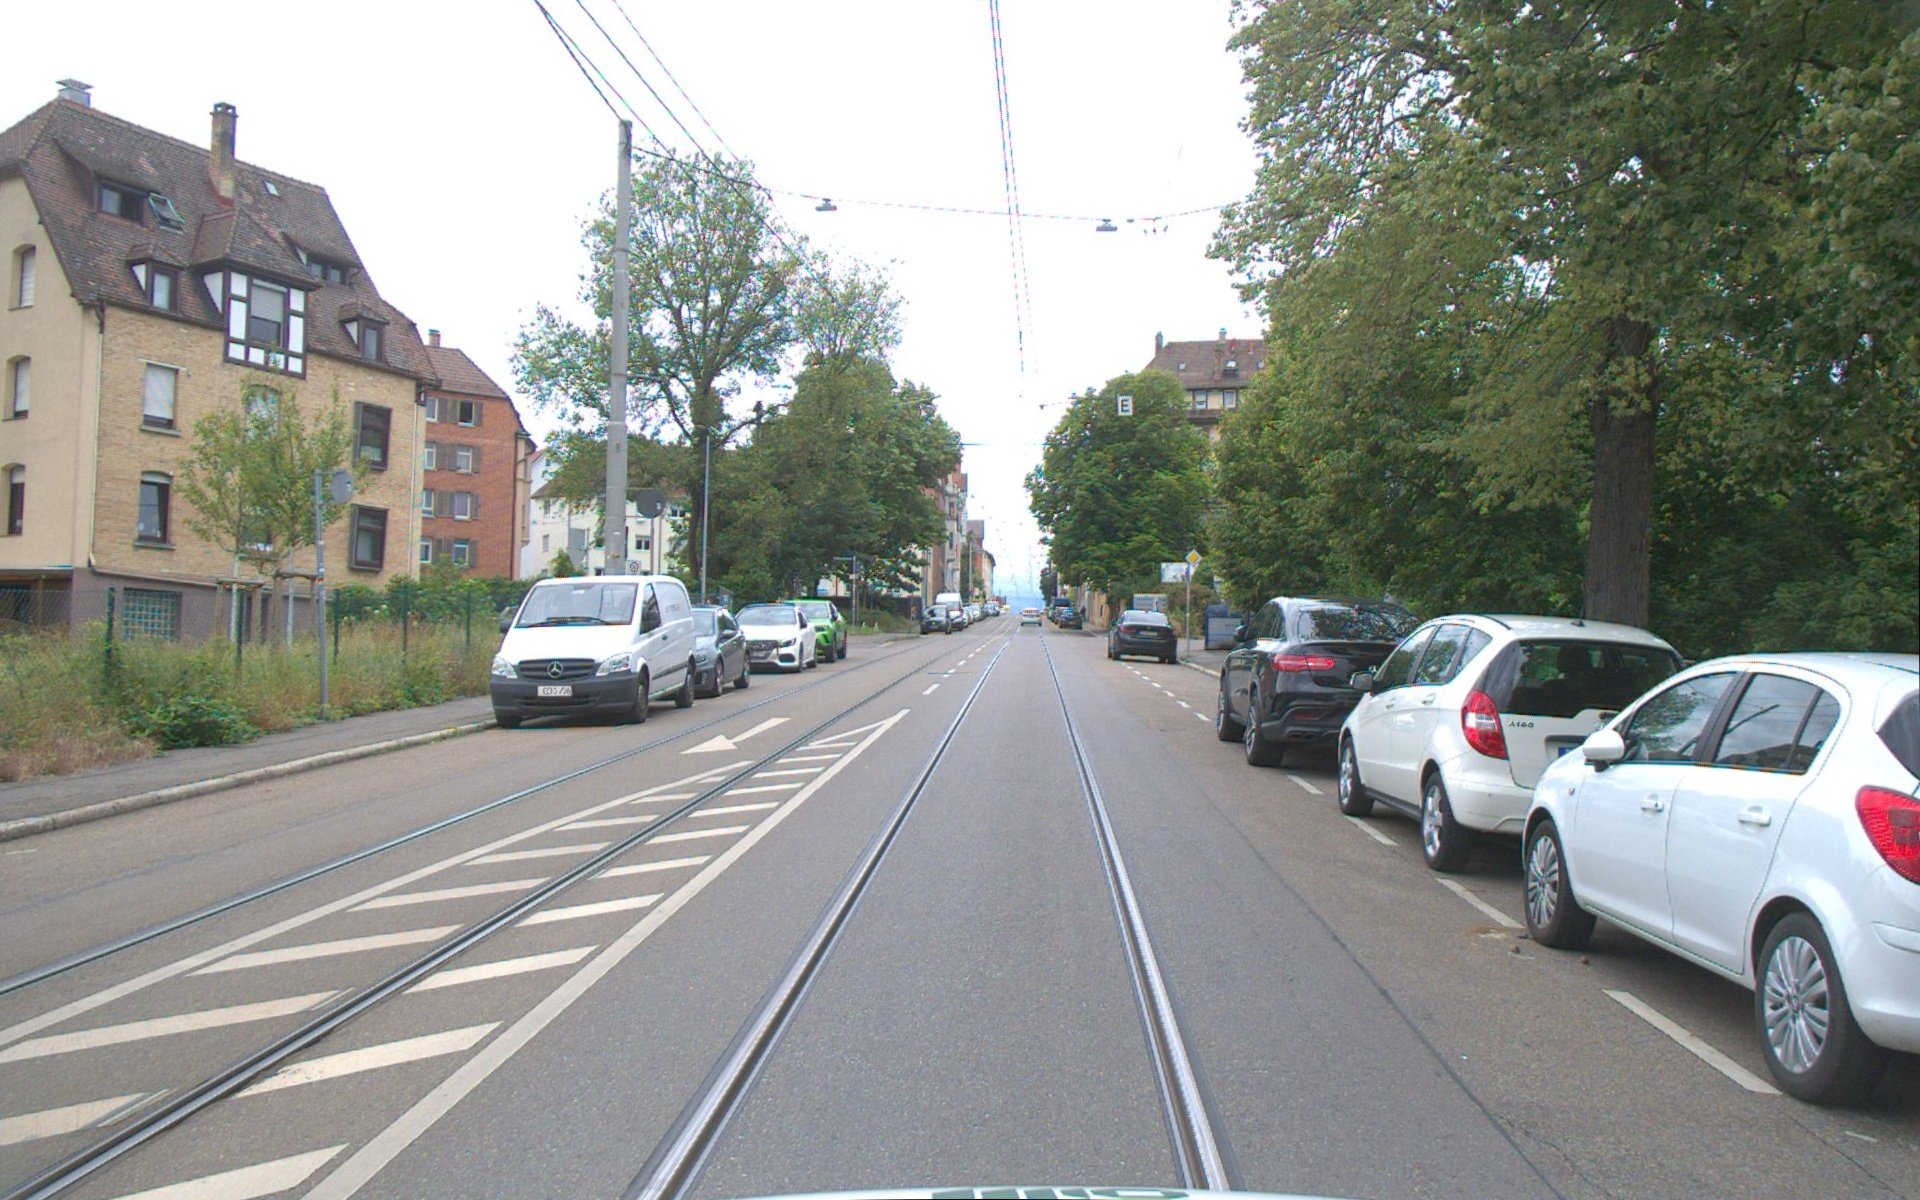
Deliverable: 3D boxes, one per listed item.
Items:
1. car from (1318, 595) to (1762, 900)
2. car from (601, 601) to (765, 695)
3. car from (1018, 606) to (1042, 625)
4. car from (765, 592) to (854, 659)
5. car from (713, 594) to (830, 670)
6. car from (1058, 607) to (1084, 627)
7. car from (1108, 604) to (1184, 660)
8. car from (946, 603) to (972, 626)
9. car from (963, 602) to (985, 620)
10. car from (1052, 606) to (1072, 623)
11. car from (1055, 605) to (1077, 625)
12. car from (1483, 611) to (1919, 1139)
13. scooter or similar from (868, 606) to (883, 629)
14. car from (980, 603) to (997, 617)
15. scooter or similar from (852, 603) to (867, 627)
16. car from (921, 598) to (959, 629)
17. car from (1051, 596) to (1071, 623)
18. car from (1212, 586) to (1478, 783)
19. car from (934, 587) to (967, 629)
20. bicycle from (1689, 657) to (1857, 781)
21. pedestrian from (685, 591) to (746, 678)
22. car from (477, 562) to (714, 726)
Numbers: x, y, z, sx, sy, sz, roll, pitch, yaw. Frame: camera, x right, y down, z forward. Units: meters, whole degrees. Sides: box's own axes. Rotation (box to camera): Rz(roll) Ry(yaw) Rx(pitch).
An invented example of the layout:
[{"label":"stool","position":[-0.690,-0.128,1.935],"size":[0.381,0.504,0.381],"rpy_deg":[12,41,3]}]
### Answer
[{"label":"car","position":[3.869,0.871,11.821],"size":[1.691,1.659,4.088],"rpy_deg":[5,0,1]},{"label":"car","position":[-4.599,0.760,28.141],"size":[1.856,1.458,4.512],"rpy_deg":[0,0,2]},{"label":"car","position":[5.946,1.352,139.765],"size":[1.952,1.525,4.313],"rpy_deg":[2,-1,2]},{"label":"car","position":[-3.756,0.618,41.937],"size":[1.687,1.607,4.182],"rpy_deg":[0,0,3]},{"label":"car","position":[-4.062,0.674,36.415],"size":[1.845,1.553,4.665],"rpy_deg":[0,-1,2]},{"label":"car","position":[8.789,1.356,131.127],"size":[1.952,1.557,4.314],"rpy_deg":[2,-1,4]},{"label":"car","position":[5.363,0.921,48.170],"size":[1.790,1.454,4.848],"rpy_deg":[3,-1,2]},{"label":"car","position":[-0.037,1.143,127.421],"size":[1.952,1.628,4.312],"rpy_deg":[2,-1,0]},{"label":"car","position":[1.353,1.059,160.928],"size":[1.884,1.629,4.001],"rpy_deg":[2,-1,3]},{"label":"car","position":[10.121,1.449,164.416],"size":[1.952,1.680,4.001],"rpy_deg":[1,-1,3]},{"label":"car","position":[9.707,1.385,151.732],"size":[1.952,1.747,4.001],"rpy_deg":[1,-1,3]},{"label":"car","position":[3.648,0.880,6.933],"size":[1.596,1.543,4.064],"rpy_deg":[4,0,1]},{"label":"scooter or similar","position":[-5.011,1.039,97.965],"size":[0.676,1.362,1.639],"rpy_deg":[2,-1,4]},{"label":"car","position":[3.451,1.208,200.415],"size":[1.952,1.629,4.001],"rpy_deg":[2,-1,2]},{"label":"scooter or similar","position":[-5.940,0.886,98.031],"size":[0.676,1.362,1.639],"rpy_deg":[2,-1,4]},{"label":"car","position":[-1.212,0.875,102.636],"size":[1.952,1.840,4.002],"rpy_deg":[2,-1,4]},{"label":"car","position":[10.387,1.000,169.922],"size":[1.952,2.619,4.706],"rpy_deg":[1,-1,3]},{"label":"car","position":[3.934,0.784,17.773],"size":[1.838,1.707,5.064],"rpy_deg":[3,0,3]},{"label":"car","position":[-0.640,0.615,117.126],"size":[2.185,2.813,5.799],"rpy_deg":[2,-1,0]},{"label":"bicycle","position":[7.236,1.035,14.810],"size":[0.419,0.993,1.792],"rpy_deg":[2,-1,-7]},{"label":"pedestrian","position":[-4.751,0.667,32.136],"size":[0.798,1.657,0.905],"rpy_deg":[2,-1,-36]},{"label":"car","position":[-4.757,0.569,22.366],"size":[1.993,1.914,4.885],"rpy_deg":[-1,-1,1]}]
